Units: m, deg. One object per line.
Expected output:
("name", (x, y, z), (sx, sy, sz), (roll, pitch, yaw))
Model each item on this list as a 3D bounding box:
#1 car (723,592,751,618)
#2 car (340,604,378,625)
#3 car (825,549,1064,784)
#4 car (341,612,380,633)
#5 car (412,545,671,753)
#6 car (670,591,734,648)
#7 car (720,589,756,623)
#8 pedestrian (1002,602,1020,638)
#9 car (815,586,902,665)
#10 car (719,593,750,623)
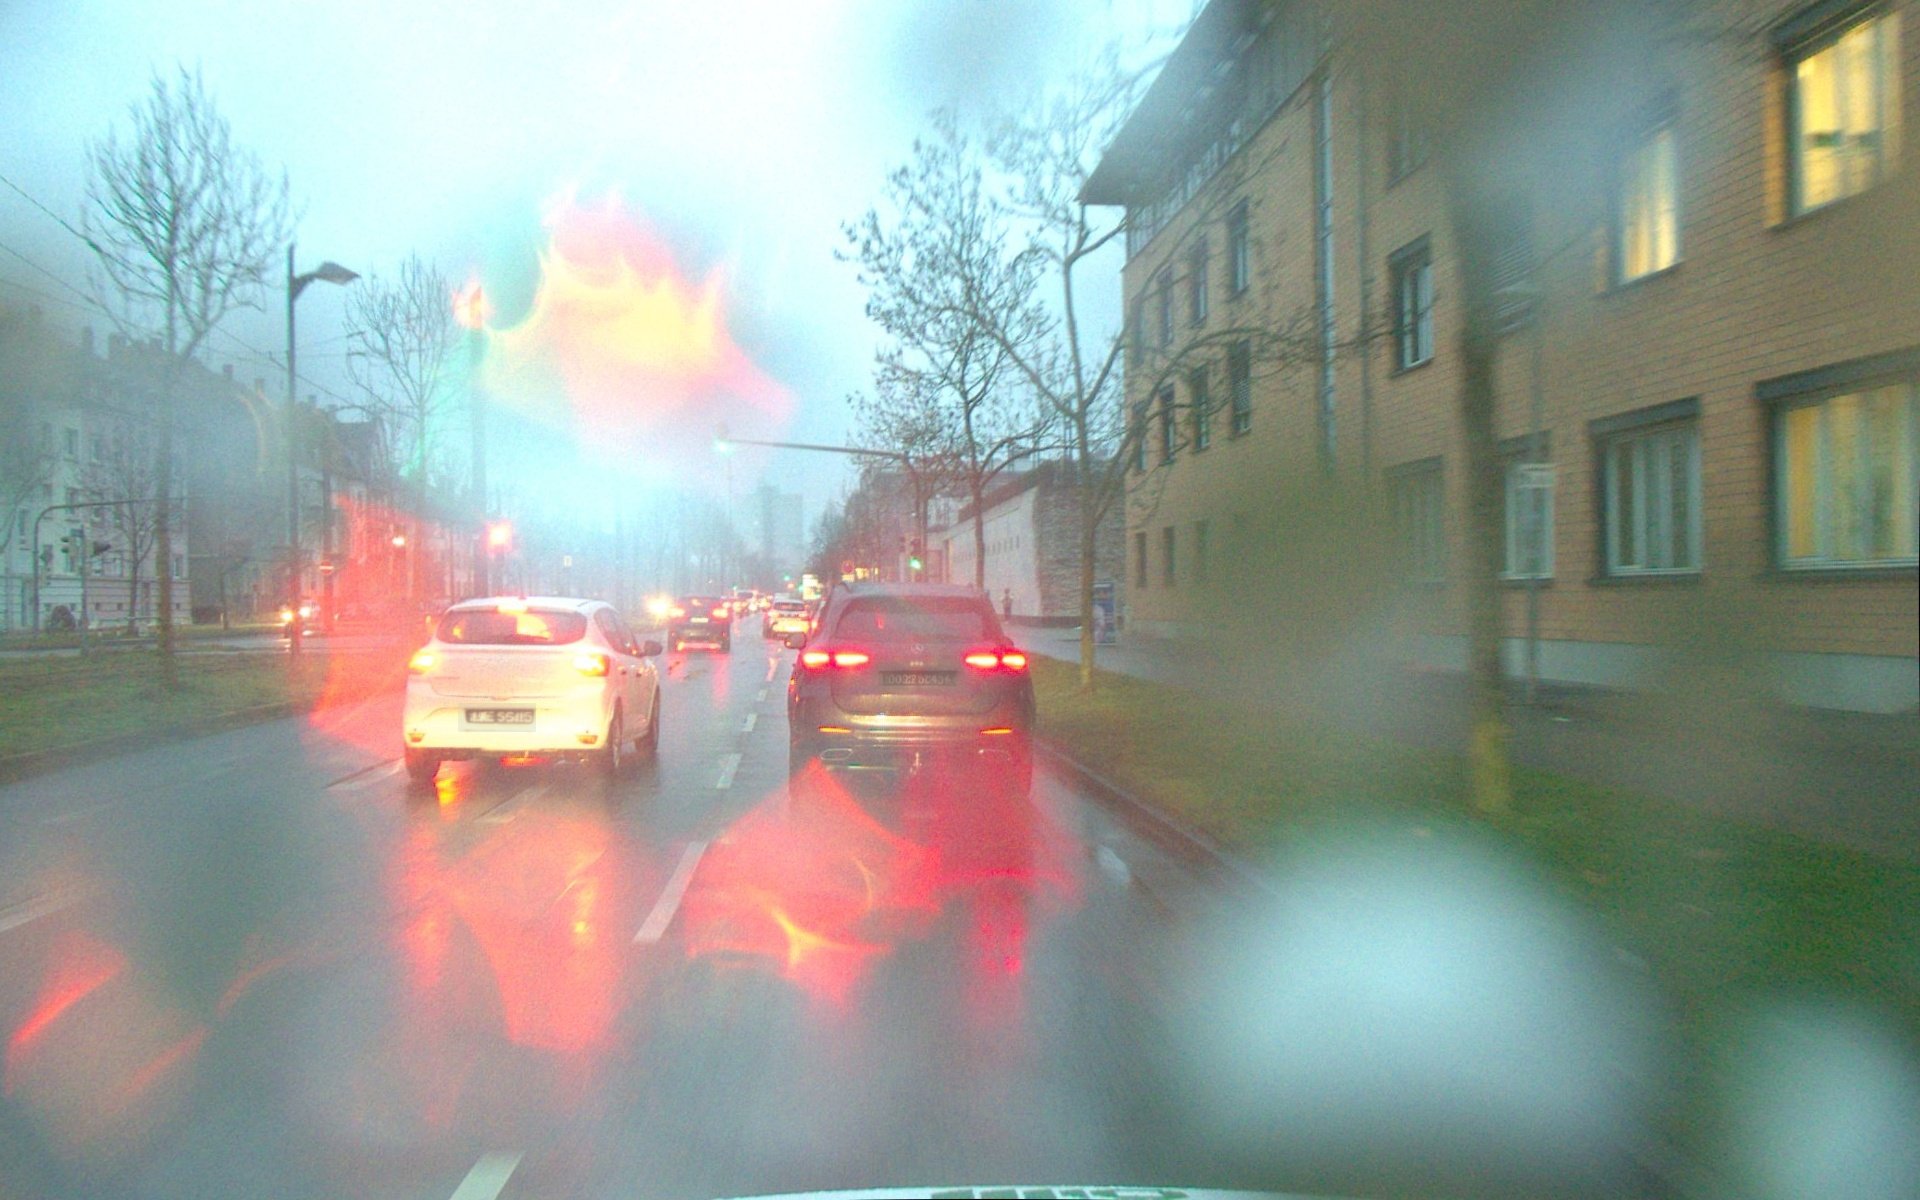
("car", (-18.357, 0.406, 136.248), (1.954, 2.049, 3.996), (-1, 0, -4))
("car", (-42.657, 1.022, 117.426), (1.742, 1.378, 3.552), (-1, 0, -6))
("car", (-0.266, 0.473, 13.584), (1.639, 1.628, 4.049), (0, 0, -5))
("car", (-42.365, 1.570, 116.906), (1.742, 1.378, 3.552), (-1, 0, -6))
("car", (-3.644, 0.397, 15.053), (1.639, 1.628, 4.049), (0, 0, -5))
("car", (-7.710, 0.567, 49.676), (1.639, 1.628, 4.049), (0, 0, -5))
("car", (-13.929, 0.383, 104.056), (1.954, 2.049, 3.996), (1, -1, -4))
("pedestrian", (2.339, 0.908, 75.794), (0.609, 1.639, 1.065), (-1, 0, -9))
("car", (-2.496, 0.578, 39.838), (1.955, 1.774, 3.996), (-1, 0, -5))
("car", (-16.431, 0.611, 120.731), (1.954, 2.049, 3.996), (1, -1, -4))
